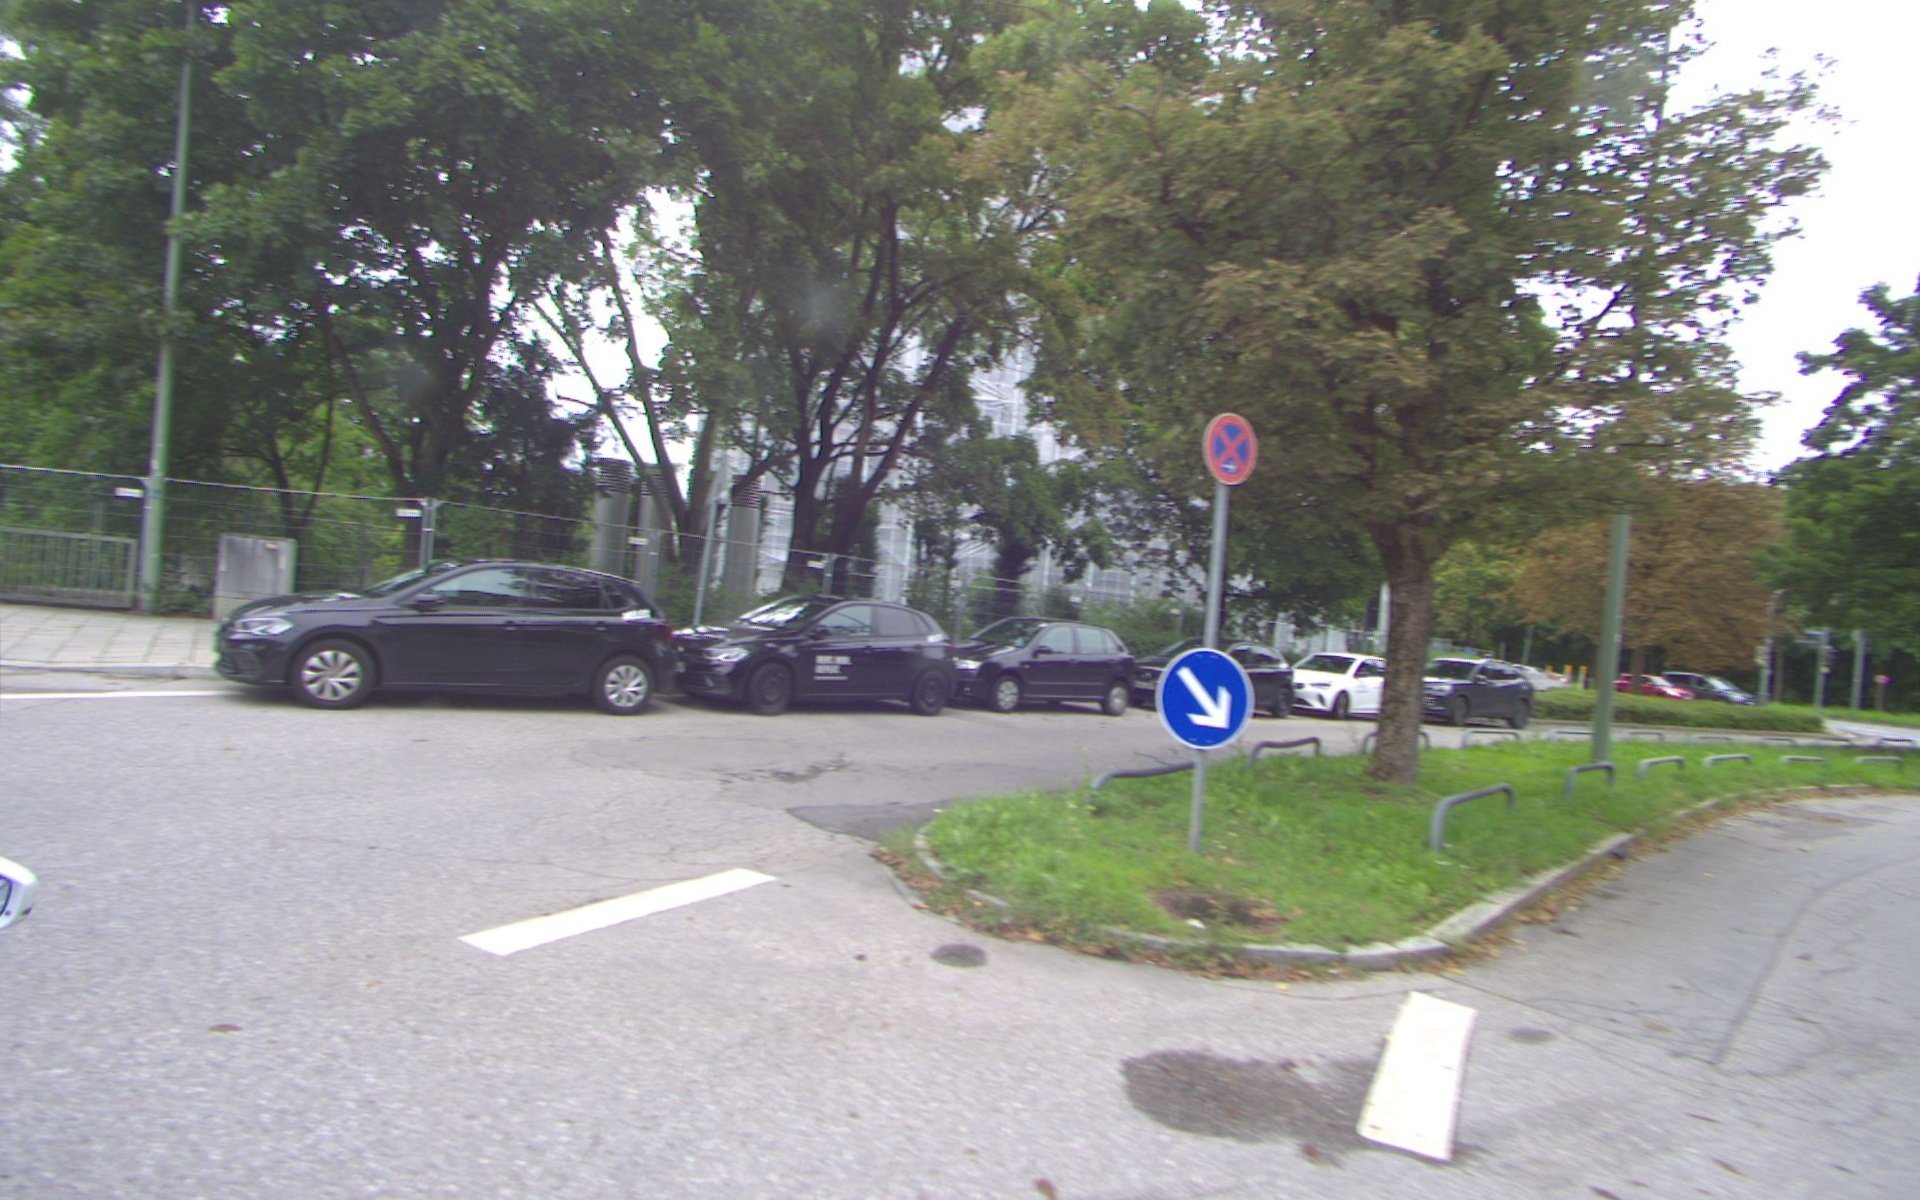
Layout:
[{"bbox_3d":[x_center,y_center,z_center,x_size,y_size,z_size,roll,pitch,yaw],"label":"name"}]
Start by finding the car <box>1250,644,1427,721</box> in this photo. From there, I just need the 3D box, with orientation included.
[{"bbox_3d":[8.511,1.873,22.476,4.184,1.400,1.783,6,-1,-39],"label":"car"}]

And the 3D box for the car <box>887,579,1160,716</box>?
[{"bbox_3d":[1.083,0.792,15.922,3.971,1.727,1.976,6,1,-42],"label":"car"}]

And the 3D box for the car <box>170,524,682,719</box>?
[{"bbox_3d":[-5.083,0.268,9.836,4.013,1.451,1.977,6,1,-41],"label":"car"}]

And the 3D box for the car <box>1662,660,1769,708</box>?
[{"bbox_3d":[39.971,4.405,53.322,1.972,2.039,3.980,5,0,-22],"label":"car"}]

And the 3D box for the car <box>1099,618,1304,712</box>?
[{"bbox_3d":[4.695,1.277,19.288,3.977,1.478,1.819,6,-1,-42],"label":"car"}]

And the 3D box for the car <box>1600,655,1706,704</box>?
[{"bbox_3d":[36.684,4.180,53.379,1.972,2.039,4.137,5,0,-22],"label":"car"}]

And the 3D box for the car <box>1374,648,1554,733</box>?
[{"bbox_3d":[12.591,2.263,25.072,4.350,1.625,1.877,8,-2,-31],"label":"car"}]

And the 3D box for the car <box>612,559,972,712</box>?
[{"bbox_3d":[-2.005,0.497,12.698,3.974,1.560,1.976,6,-1,-44],"label":"car"}]
